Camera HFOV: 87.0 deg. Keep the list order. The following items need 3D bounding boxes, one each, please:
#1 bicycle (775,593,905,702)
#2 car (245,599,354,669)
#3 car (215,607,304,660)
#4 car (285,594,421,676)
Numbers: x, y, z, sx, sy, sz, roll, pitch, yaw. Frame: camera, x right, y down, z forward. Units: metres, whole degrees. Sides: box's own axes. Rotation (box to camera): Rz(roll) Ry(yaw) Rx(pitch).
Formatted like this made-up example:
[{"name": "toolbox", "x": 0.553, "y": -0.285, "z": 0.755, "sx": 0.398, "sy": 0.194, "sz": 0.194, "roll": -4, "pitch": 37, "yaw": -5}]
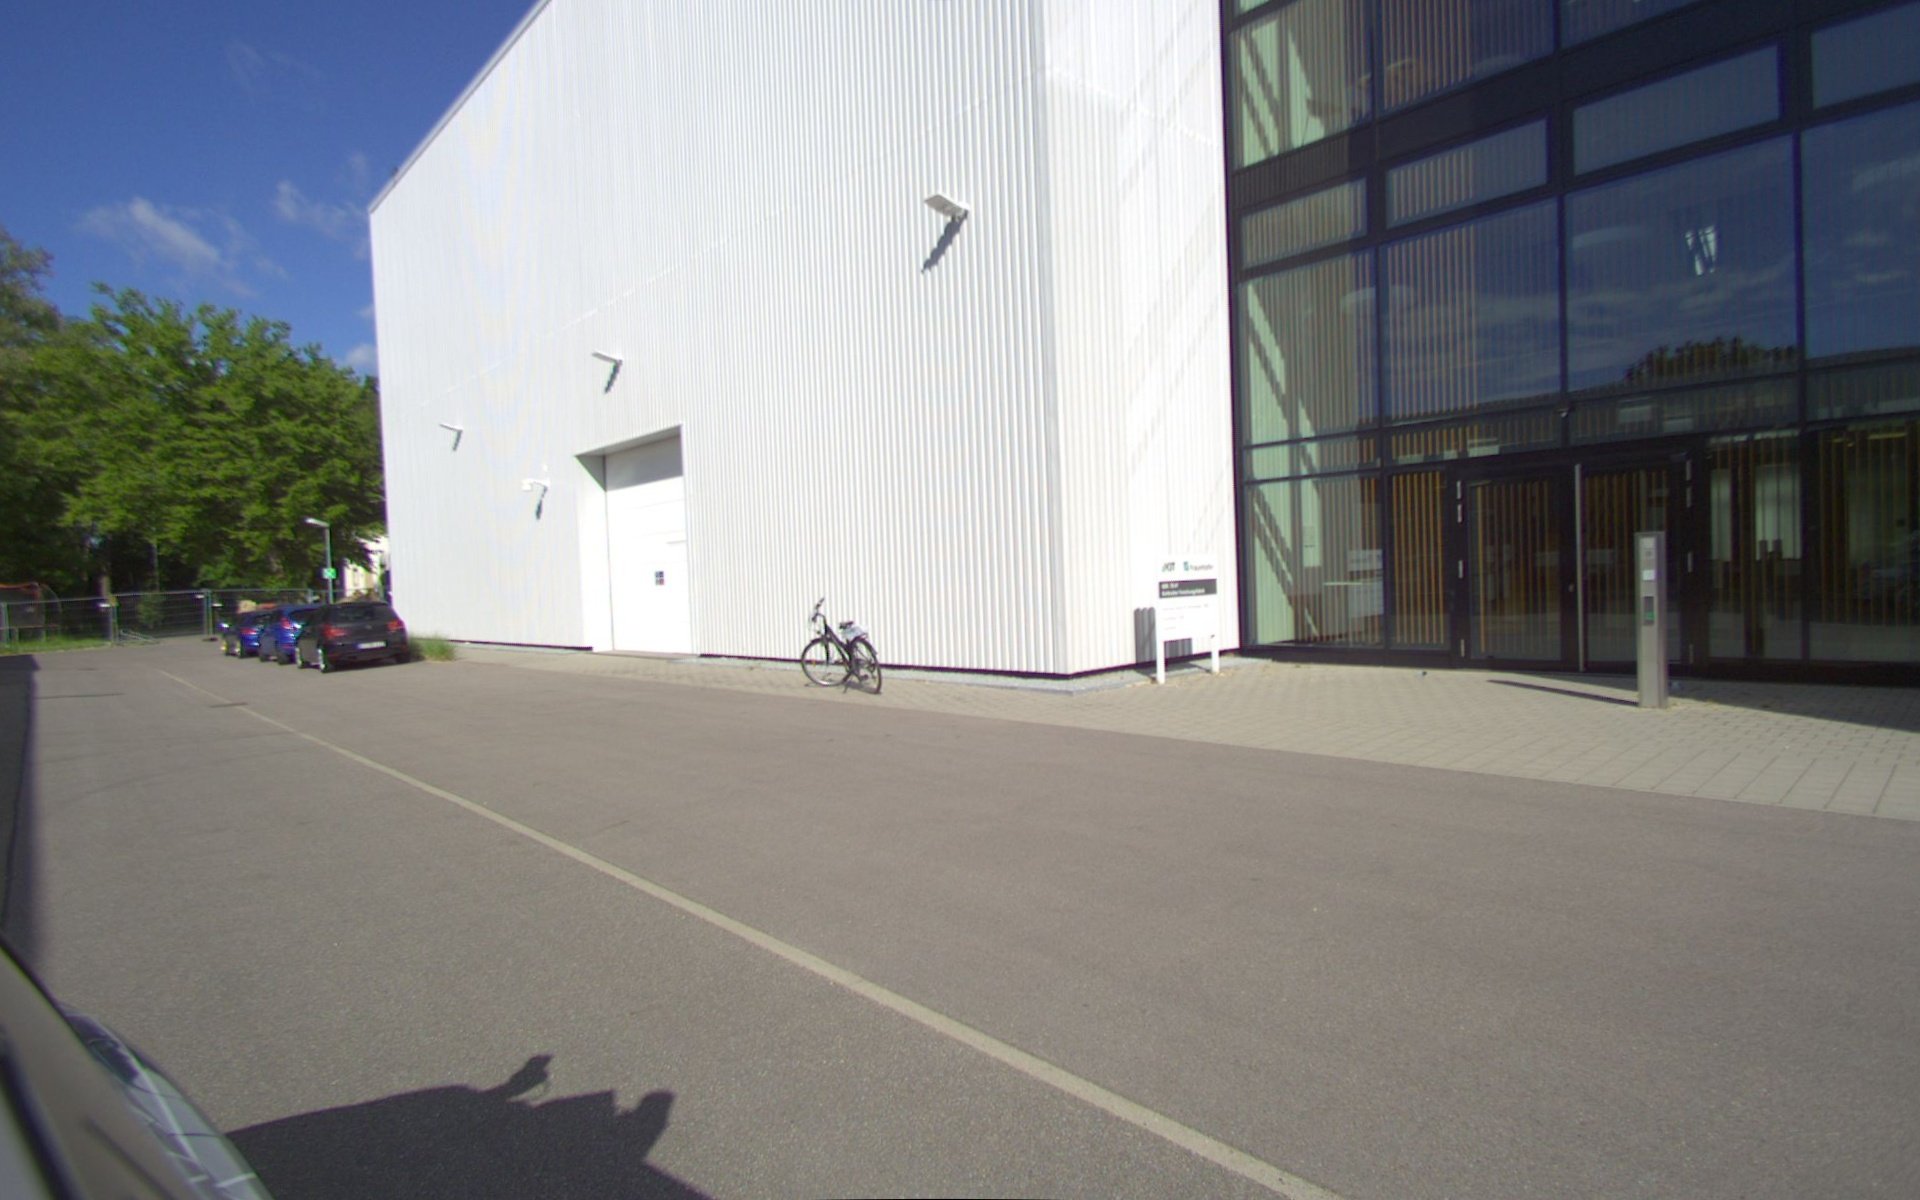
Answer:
[{"name": "bicycle", "x": -1.540, "y": 0.534, "z": 12.625, "sx": 0.895, "sy": 1.151, "sz": 1.906, "roll": -6, "pitch": 4, "yaw": -28}, {"name": "car", "x": -17.481, "y": 0.851, "z": 26.720, "sx": 1.764, "sy": 1.532, "sz": 4.006, "roll": -7, "pitch": 4, "yaw": -41}, {"name": "car", "x": -21.292, "y": 0.978, "z": 30.695, "sx": 1.763, "sy": 1.451, "sz": 4.006, "roll": -2, "pitch": 1, "yaw": -41}, {"name": "car", "x": -13.823, "y": 0.745, "z": 22.948, "sx": 1.868, "sy": 1.532, "sz": 4.006, "roll": -7, "pitch": 4, "yaw": -41}]
